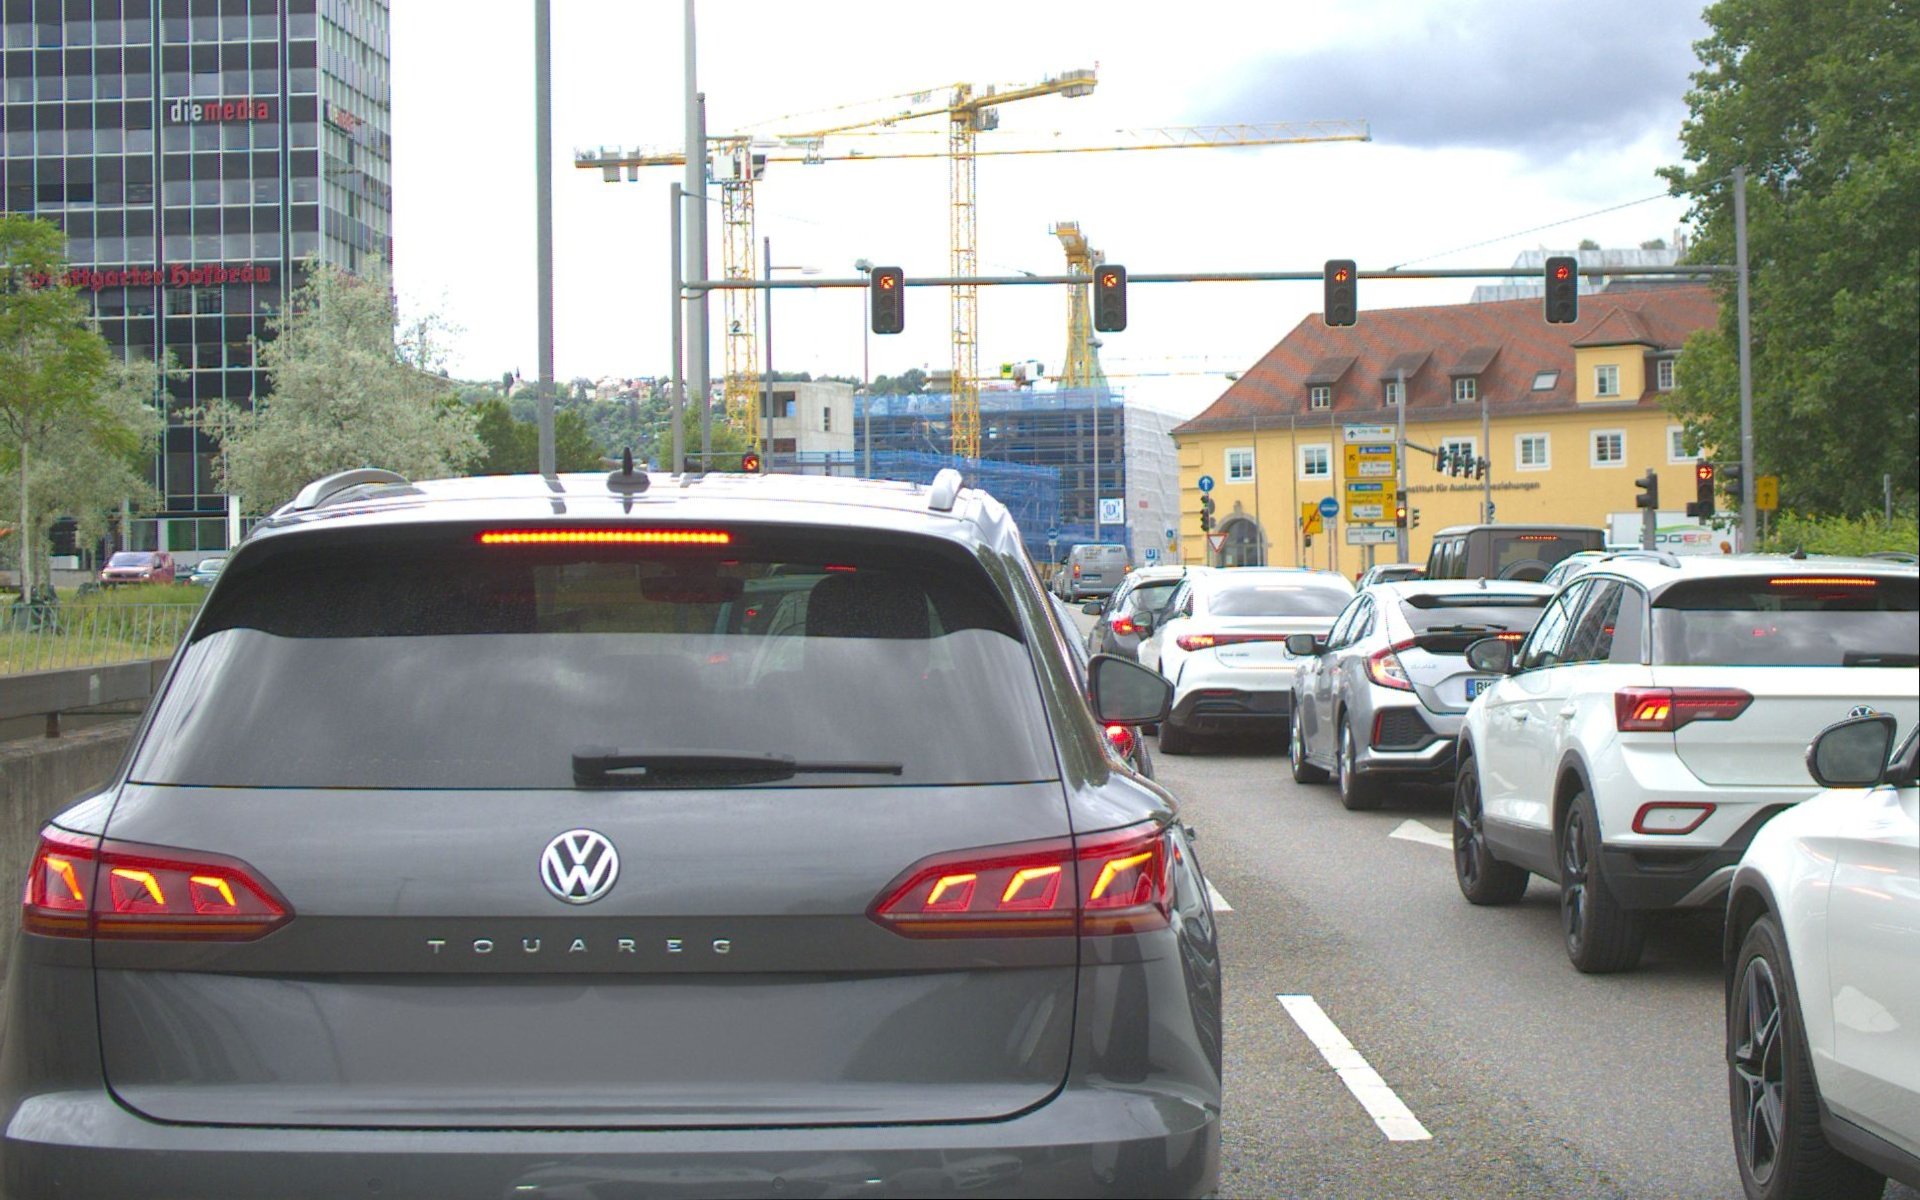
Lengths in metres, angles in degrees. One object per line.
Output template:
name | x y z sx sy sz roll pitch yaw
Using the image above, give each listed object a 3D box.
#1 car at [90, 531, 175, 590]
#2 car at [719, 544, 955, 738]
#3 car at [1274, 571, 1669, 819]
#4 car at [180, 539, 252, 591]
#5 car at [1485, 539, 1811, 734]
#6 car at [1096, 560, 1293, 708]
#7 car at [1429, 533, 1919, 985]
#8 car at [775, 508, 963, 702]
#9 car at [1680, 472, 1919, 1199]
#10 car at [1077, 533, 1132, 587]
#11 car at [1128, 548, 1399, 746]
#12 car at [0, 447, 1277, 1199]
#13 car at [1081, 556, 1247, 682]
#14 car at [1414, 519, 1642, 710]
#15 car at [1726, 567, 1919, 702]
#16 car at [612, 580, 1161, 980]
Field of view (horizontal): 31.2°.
car | -29.901 -1.443 124.317 1.993 2.006 4.692 0 2 -1
car | -1.069 0.326 31.018 1.951 1.594 3.931 1 1 -1
car | 3.172 0.549 22.189 1.926 1.427 4.489 0 0 1
car | -30.423 -1.438 140.641 1.993 2.006 4.692 0 2 -1
car | 6.387 0.283 32.417 1.993 1.634 4.305 0 2 -3
car | 2.513 0.346 37.735 1.926 1.524 4.047 0 0 1
car | 3.161 0.545 14.037 1.926 1.545 4.489 0 0 1
car | -0.996 0.032 38.551 1.951 2.011 3.931 1 1 -1
car | 2.710 0.591 6.206 1.926 1.648 4.490 0 1 1
car | 4.668 -1.277 111.338 1.619 1.622 4.000 1 -1 0
car | 2.465 0.358 28.914 1.926 1.524 4.489 0 0 1
car | -0.577 0.595 6.653 1.951 1.646 4.000 0 1 -1
car | 2.558 0.227 44.022 1.926 1.524 4.047 0 0 1
car | 6.395 0.153 39.101 1.910 2.007 4.012 1 0 0
car | 10.223 0.402 39.972 1.932 1.455 4.526 1 0 4
car | -0.293 0.641 14.390 1.951 1.379 3.931 1 1 -1
